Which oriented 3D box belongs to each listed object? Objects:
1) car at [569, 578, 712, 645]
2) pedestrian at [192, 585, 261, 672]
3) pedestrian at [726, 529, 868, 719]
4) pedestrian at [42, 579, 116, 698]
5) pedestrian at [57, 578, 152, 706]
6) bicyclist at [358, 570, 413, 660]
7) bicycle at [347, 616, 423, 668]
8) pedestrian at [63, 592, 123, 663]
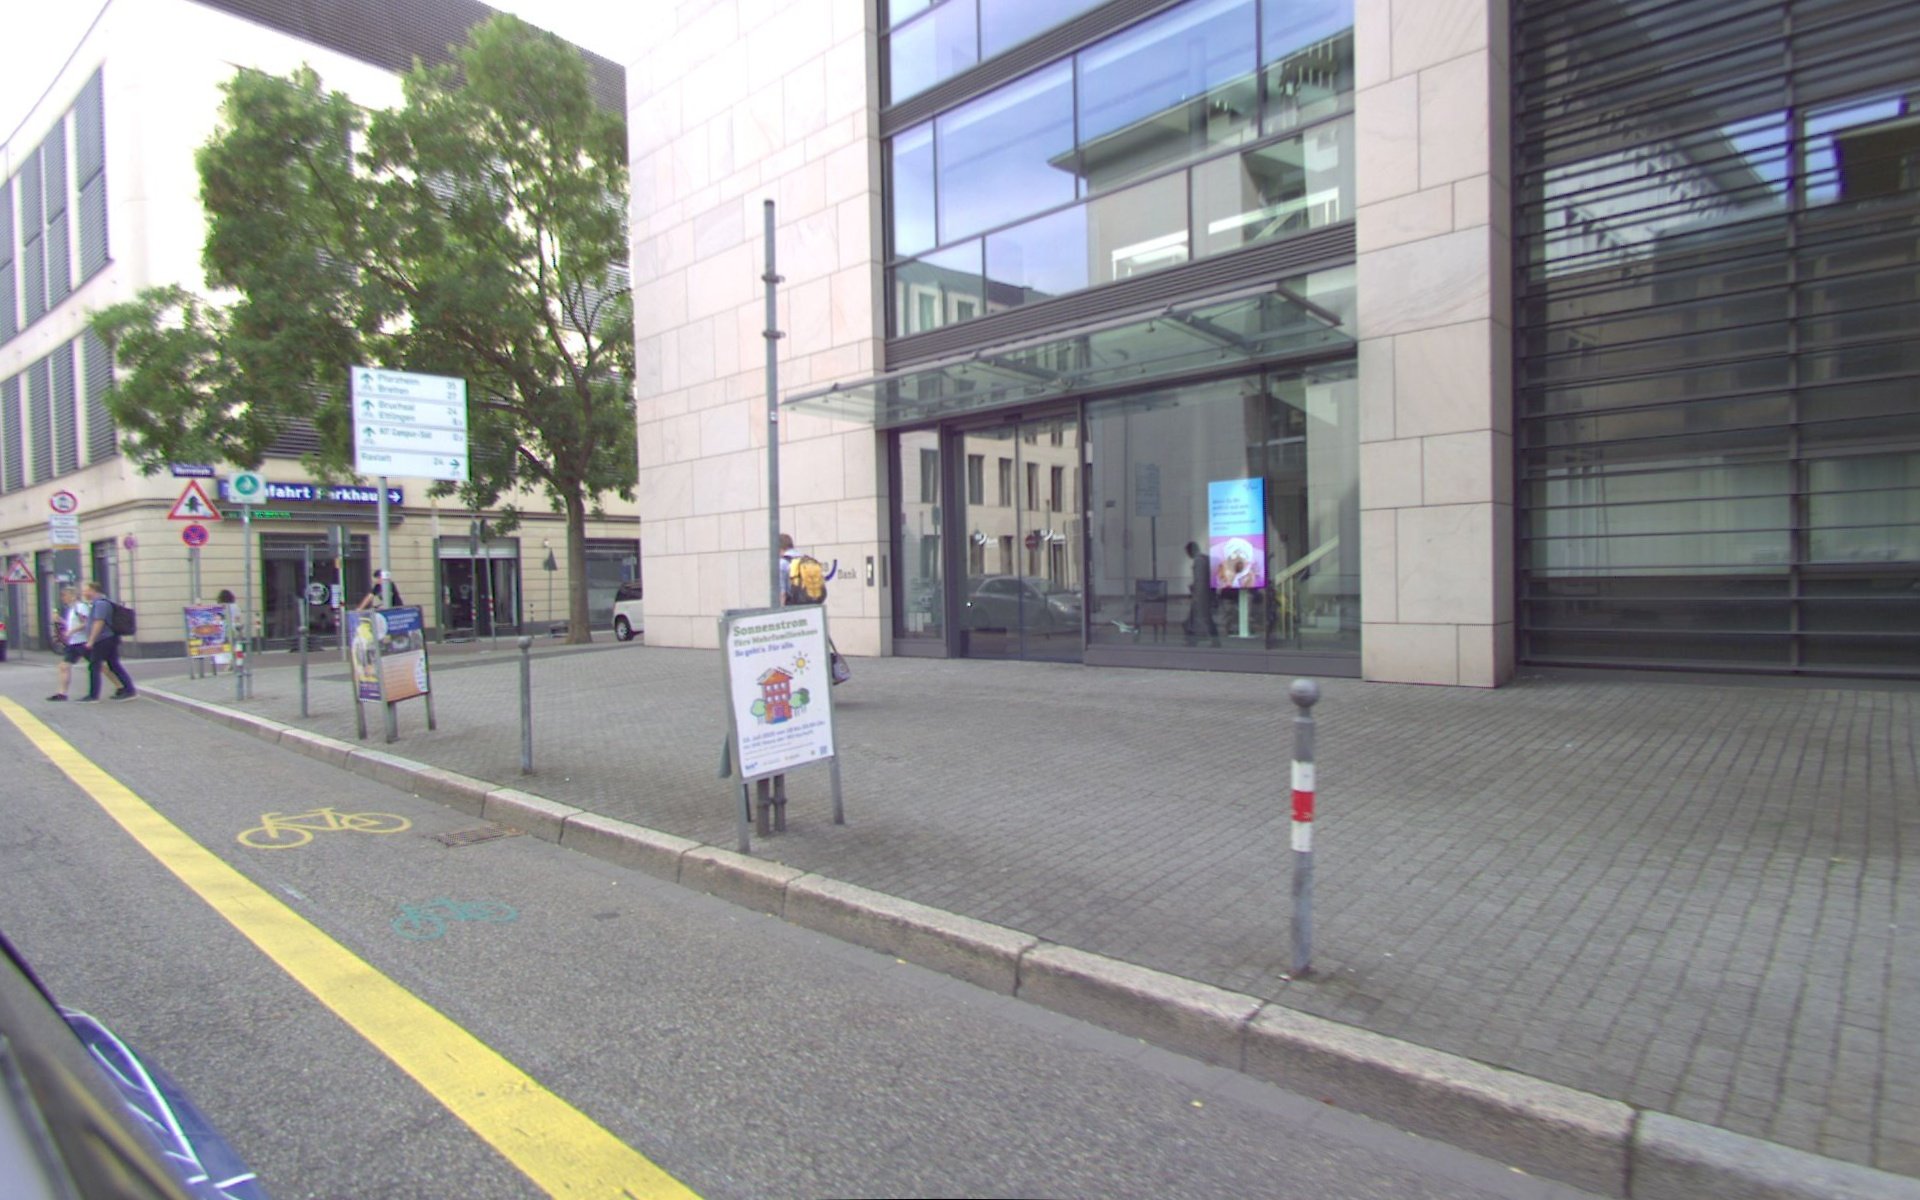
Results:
[{"bbox_3d":[-8.913,0.329,28.145,3.959,1.706,1.875,-2,0,39],"label":"car"},{"bbox_3d":[-15.428,0.575,21.281,0.910,1.721,0.868,0,5,42],"label":"pedestrian"},{"bbox_3d":[-1.593,0.200,9.947,0.818,1.732,1.015,0,3,42],"label":"pedestrian"},{"bbox_3d":[-13.616,0.575,15.649,0.652,1.778,0.637,-1,1,30],"label":"pedestrian"},{"bbox_3d":[-12.912,0.622,15.285,0.753,1.827,0.738,-1,4,30],"label":"pedestrian"},{"bbox_3d":[-10.885,0.266,19.190,0.613,1.631,0.645,-4,2,-8],"label":"bicyclist"},{"bbox_3d":[-10.858,0.766,19.180,0.592,0.840,1.728,-5,1,-8],"label":"bicycle"},{"bbox_3d":[-23.341,0.725,27.242,1.059,1.777,0.882,-1,5,37],"label":"pedestrian"}]
